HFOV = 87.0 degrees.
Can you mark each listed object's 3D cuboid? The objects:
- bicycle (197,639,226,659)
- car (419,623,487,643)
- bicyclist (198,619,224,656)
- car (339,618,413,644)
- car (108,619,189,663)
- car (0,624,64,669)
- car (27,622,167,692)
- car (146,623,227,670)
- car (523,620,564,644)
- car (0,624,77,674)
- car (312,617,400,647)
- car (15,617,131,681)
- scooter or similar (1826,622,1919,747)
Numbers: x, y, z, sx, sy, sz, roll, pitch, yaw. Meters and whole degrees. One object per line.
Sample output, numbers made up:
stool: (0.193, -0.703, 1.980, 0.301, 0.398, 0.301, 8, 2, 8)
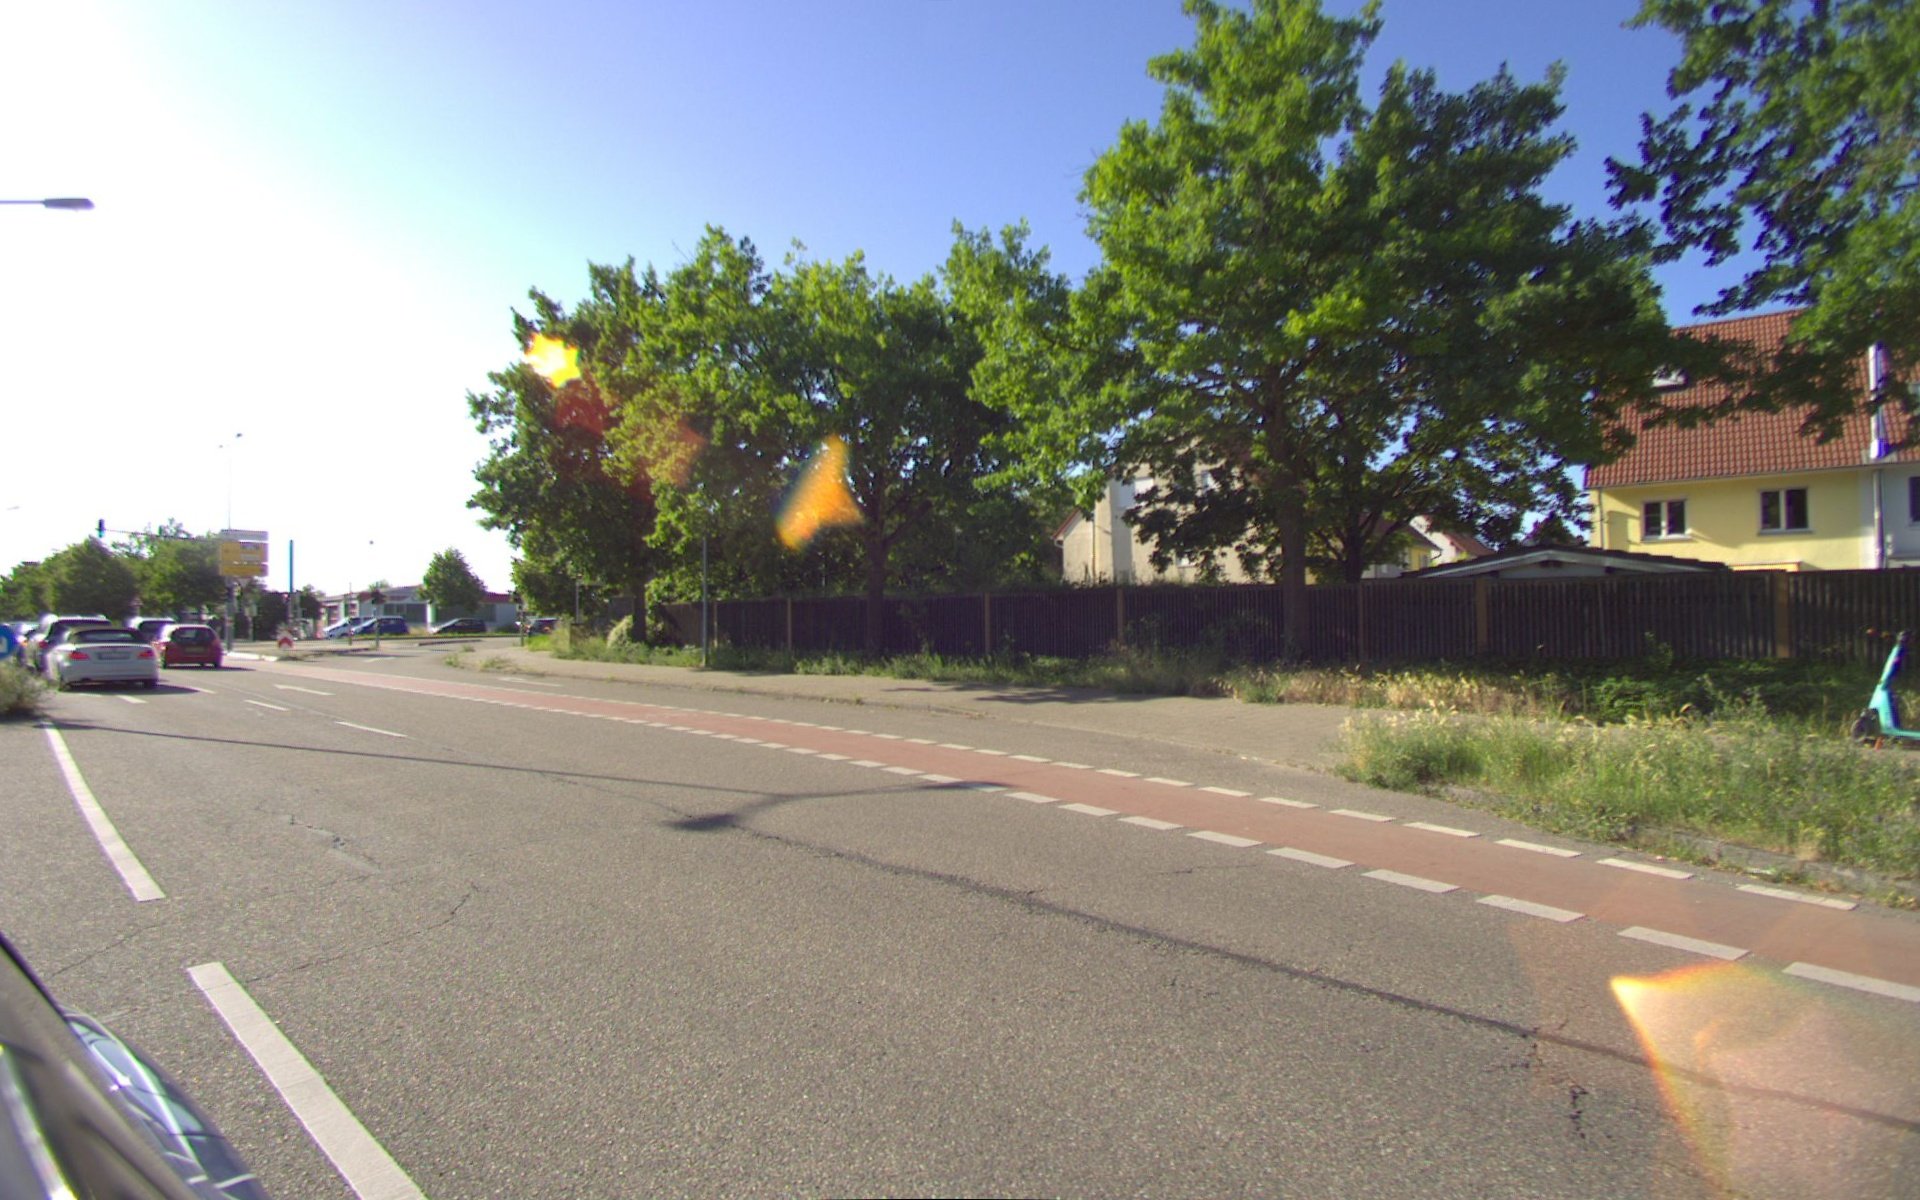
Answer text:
bicycle: (-34.636, 2.268, 46.836, 1.990, 0.854, 0.740, -1, -1, 43)
car: (-36.698, 2.376, 73.307, 1.891, 1.284, 3.986, -5, -4, 39)
bicyclist: (-34.691, 1.736, 46.843, 1.242, 1.715, 0.736, -2, -2, 43)
car: (-39.876, 2.131, 69.176, 1.891, 1.657, 3.986, -5, -4, 39)
car: (-32.600, 1.610, 40.614, 4.531, 1.656, 1.971, -2, -2, 44)
car: (-33.635, 1.629, 36.385, 4.531, 1.517, 1.773, -2, -2, 44)
car: (-19.929, 1.252, 23.303, 4.399, 1.461, 1.971, -2, -2, 43)
car: (-26.061, 1.536, 34.050, 3.714, 1.494, 1.627, -2, -2, 44)
car: (-26.519, 2.029, 64.521, 1.686, 1.442, 4.010, 1, -2, -12)
car: (-29.482, 1.520, 32.237, 3.889, 1.494, 1.727, -2, -2, 44)
car: (-44.490, 2.334, 74.635, 2.046, 2.029, 5.206, -5, -4, 39)
car: (-24.632, 1.311, 28.051, 4.530, 1.628, 1.971, -2, -2, 43)
scooter or similar: (9.802, 0.846, 10.257, 0.532, 1.228, 1.417, -2, -1, -34)
